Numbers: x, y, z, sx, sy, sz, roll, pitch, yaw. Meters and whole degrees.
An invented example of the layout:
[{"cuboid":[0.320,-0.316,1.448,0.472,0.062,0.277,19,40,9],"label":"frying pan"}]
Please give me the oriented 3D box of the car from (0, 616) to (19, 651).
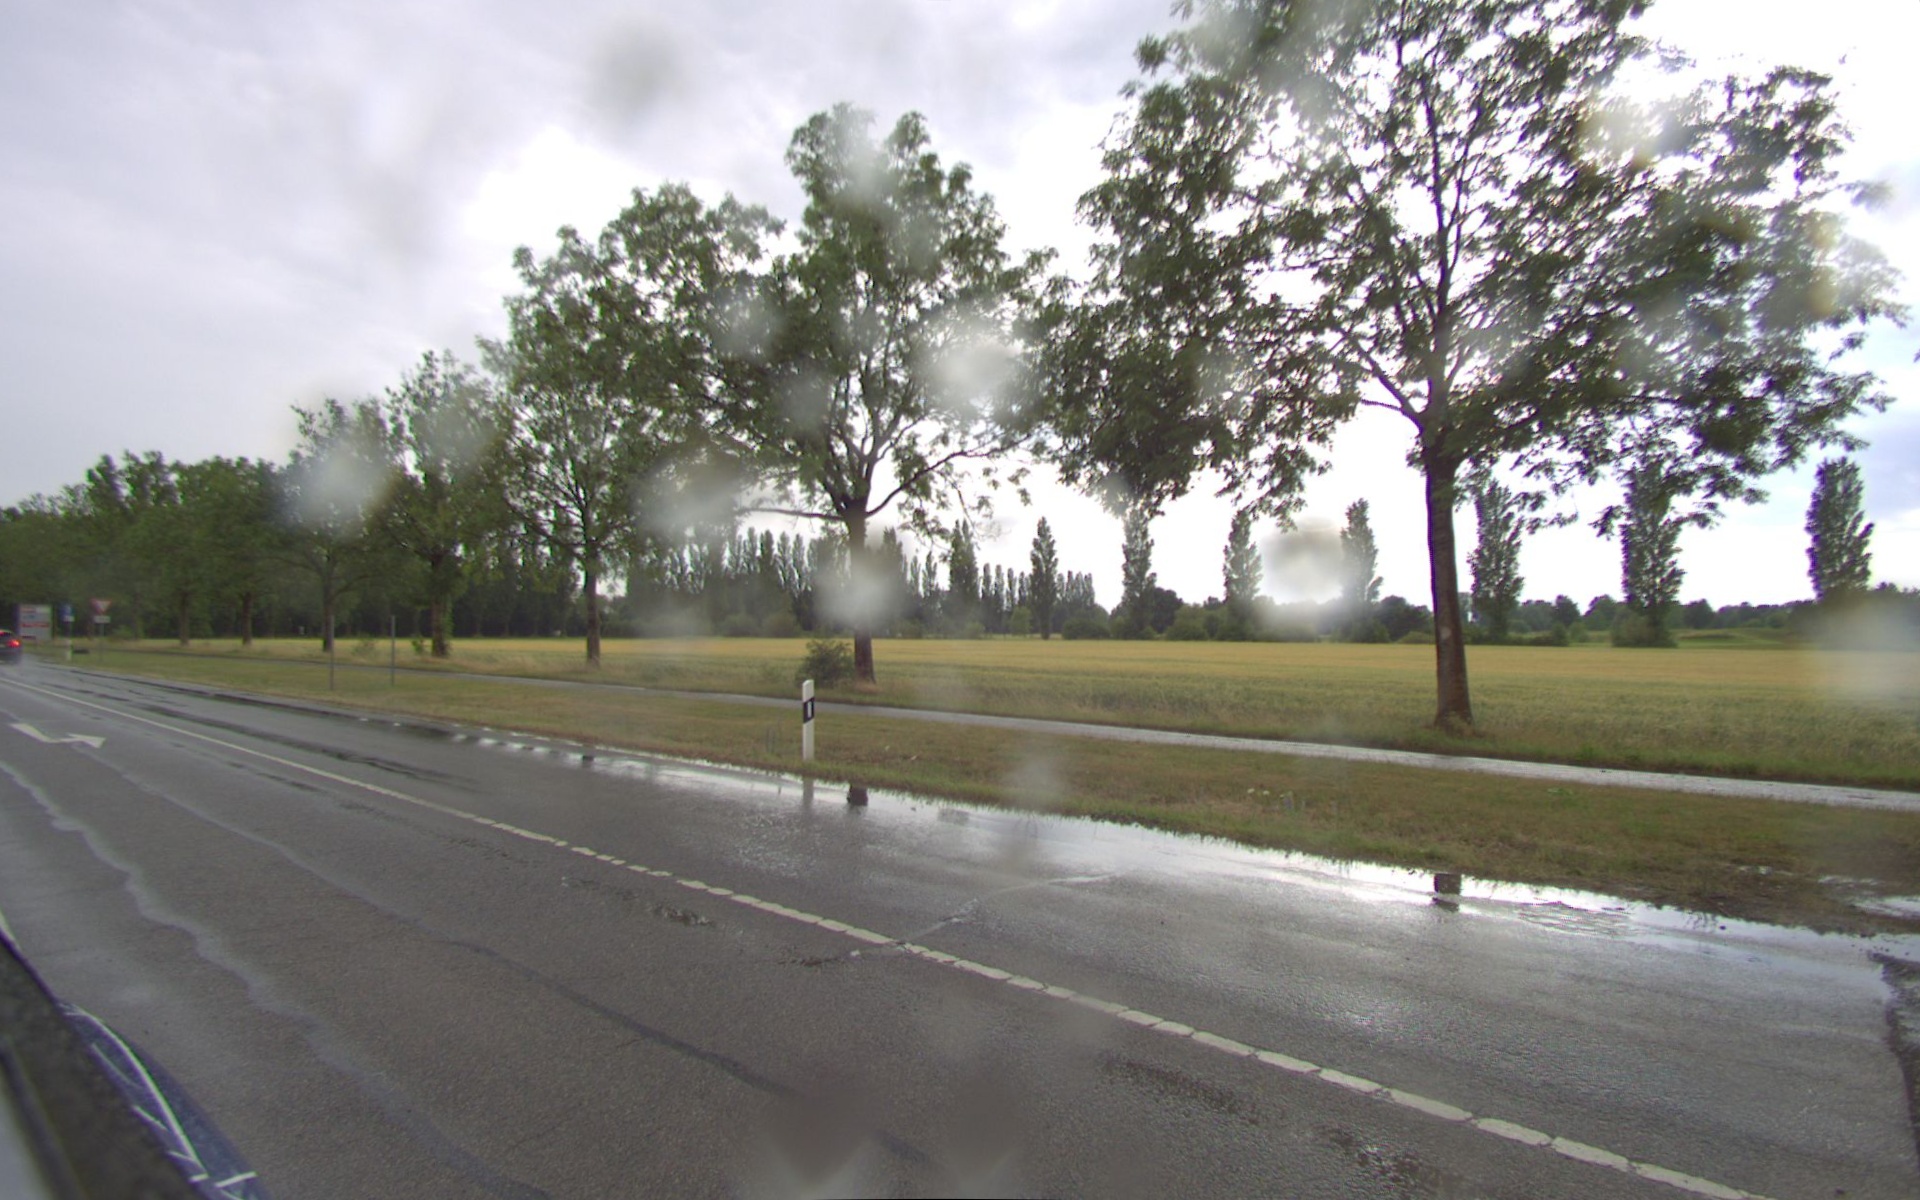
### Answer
[{"cuboid":[-41.100,1.368,42.582,4.041,1.415,1.702,-1,-4,41],"label":"car"}]
